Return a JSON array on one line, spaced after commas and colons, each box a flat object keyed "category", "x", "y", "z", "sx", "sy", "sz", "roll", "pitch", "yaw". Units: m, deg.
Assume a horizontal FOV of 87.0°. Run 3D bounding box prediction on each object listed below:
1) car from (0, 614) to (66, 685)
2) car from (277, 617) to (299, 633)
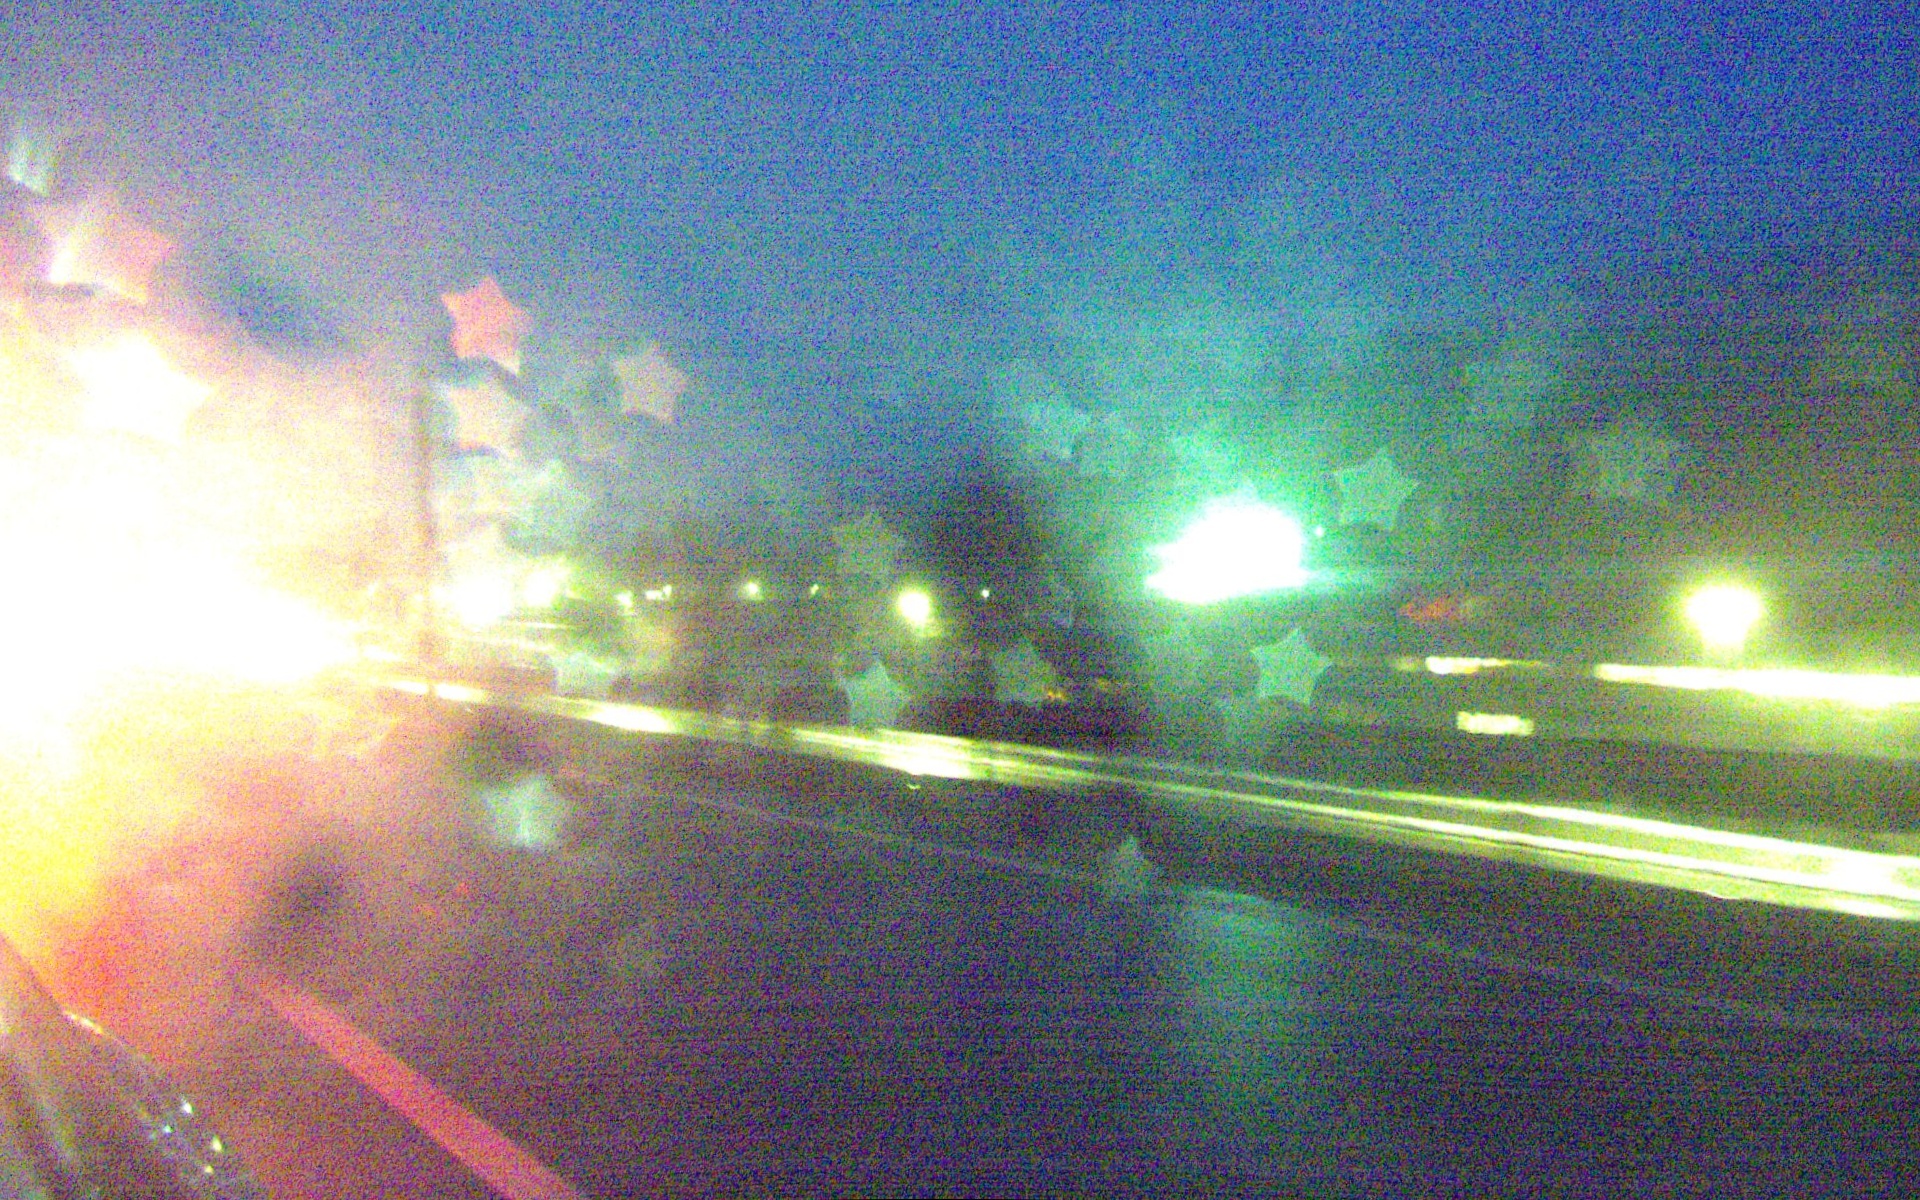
[{"category": "car", "x": -24.795, "y": 1.259, "z": 26.268, "sx": 3.998, "sy": 1.716, "sz": 1.906, "roll": -2, "pitch": -1, "yaw": 42}, {"category": "car", "x": -103.154, "y": 3.825, "z": 155.246, "sx": 1.969, "sy": 2.325, "sz": 6.029, "roll": -1, "pitch": -1, "yaw": -42}]
